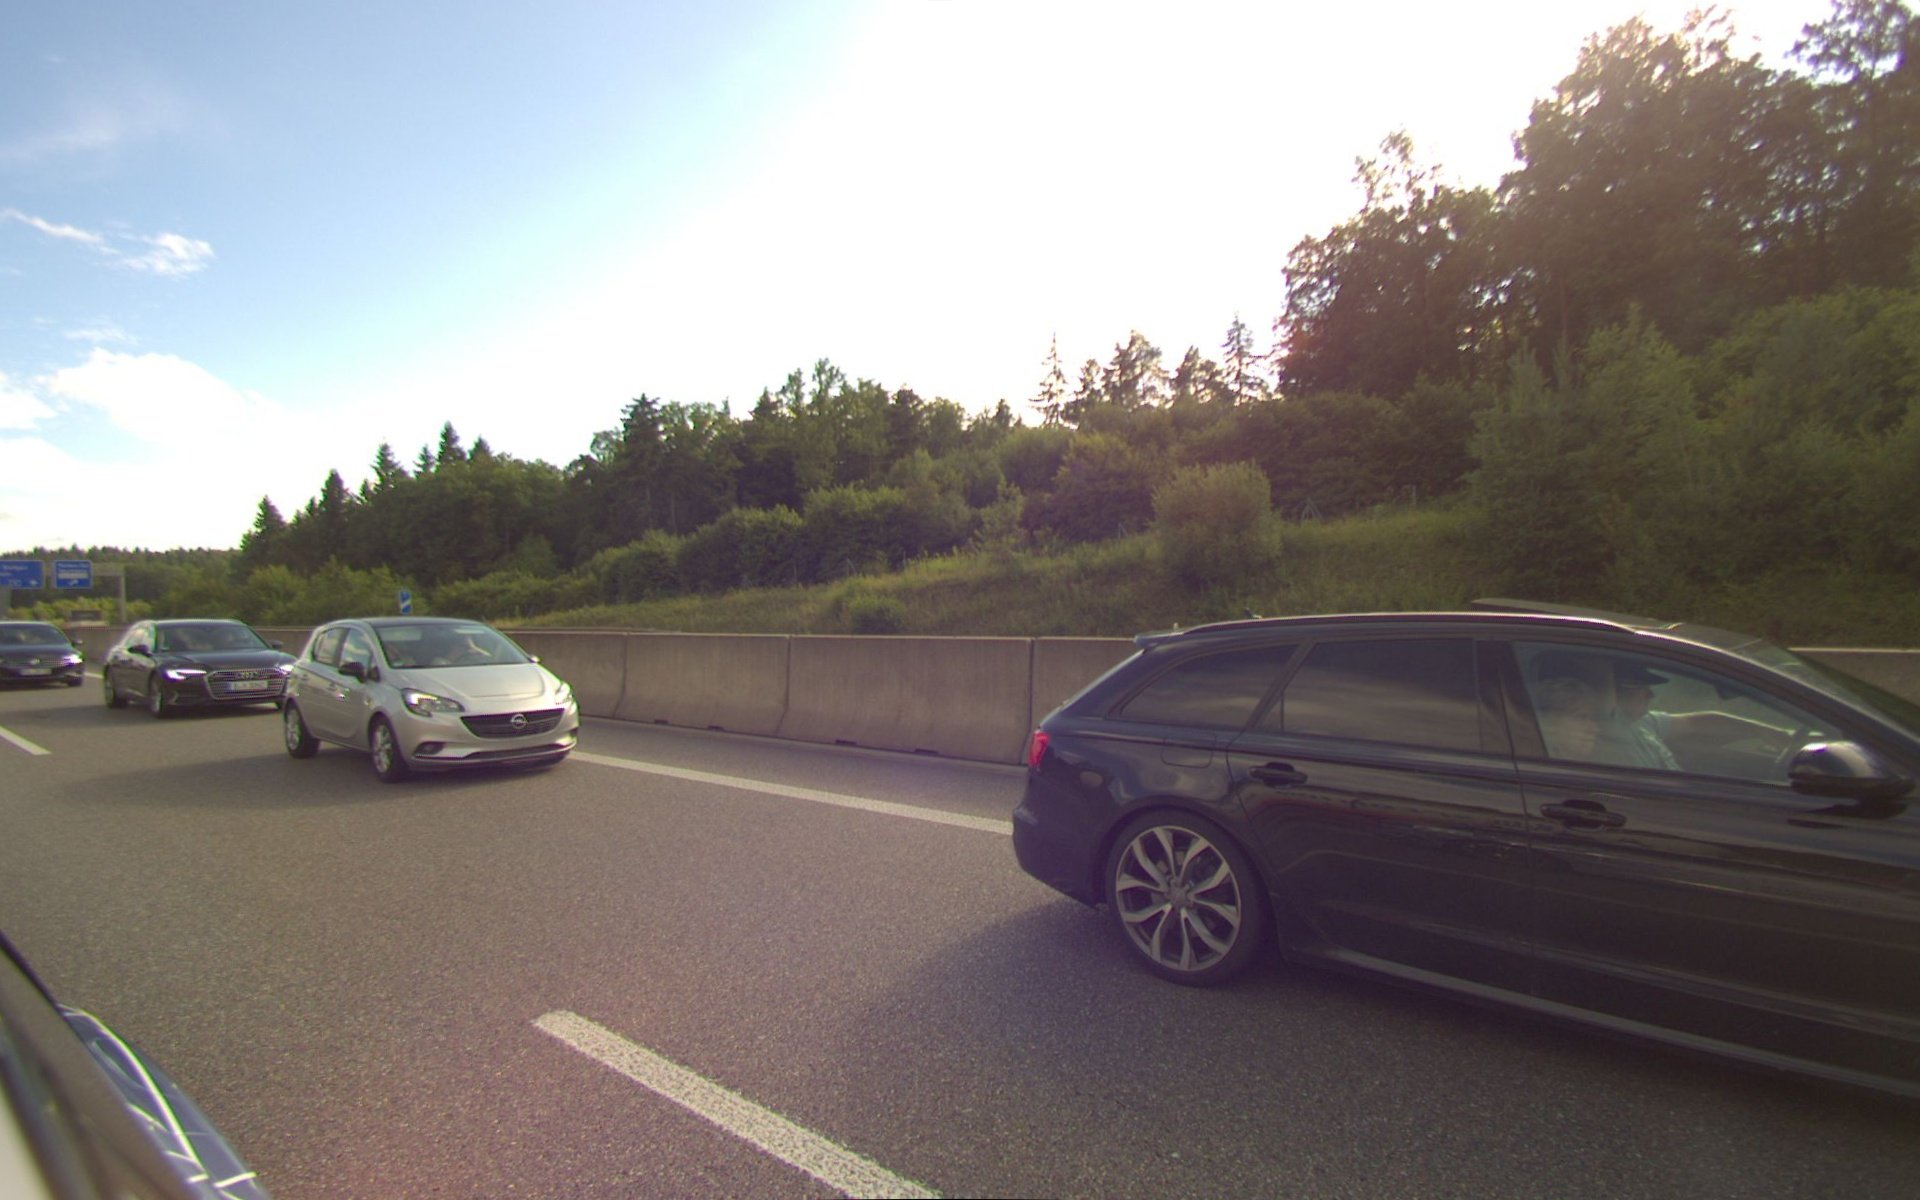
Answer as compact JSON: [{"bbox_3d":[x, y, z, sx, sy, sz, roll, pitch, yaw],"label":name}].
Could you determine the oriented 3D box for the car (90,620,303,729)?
[{"bbox_3d":[-12.487,1.100,16.424,4.850,1.483,1.862,-1,-1,42],"label":"car"}]

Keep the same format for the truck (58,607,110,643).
[{"bbox_3d":[-74.656,2.118,86.224,6.426,2.876,2.398,-1,-1,40],"label":"truck"}]

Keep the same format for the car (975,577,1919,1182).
[{"bbox_3d":[2.451,0.686,3.557,4.745,1.467,1.824,-1,-1,41],"label":"car"}]

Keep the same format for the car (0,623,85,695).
[{"bbox_3d":[-21.312,1.272,22.855,4.568,1.489,1.890,-1,-1,43],"label":"car"}]

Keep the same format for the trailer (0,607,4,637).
[{"bbox_3d":[-157.797,3.548,163.734,14.644,4.866,2.897,-1,0,40],"label":"trailer"}]

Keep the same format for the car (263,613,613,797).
[{"bbox_3d":[-5.330,0.901,10.118,4.038,1.477,1.729,-2,-2,41],"label":"car"}]
